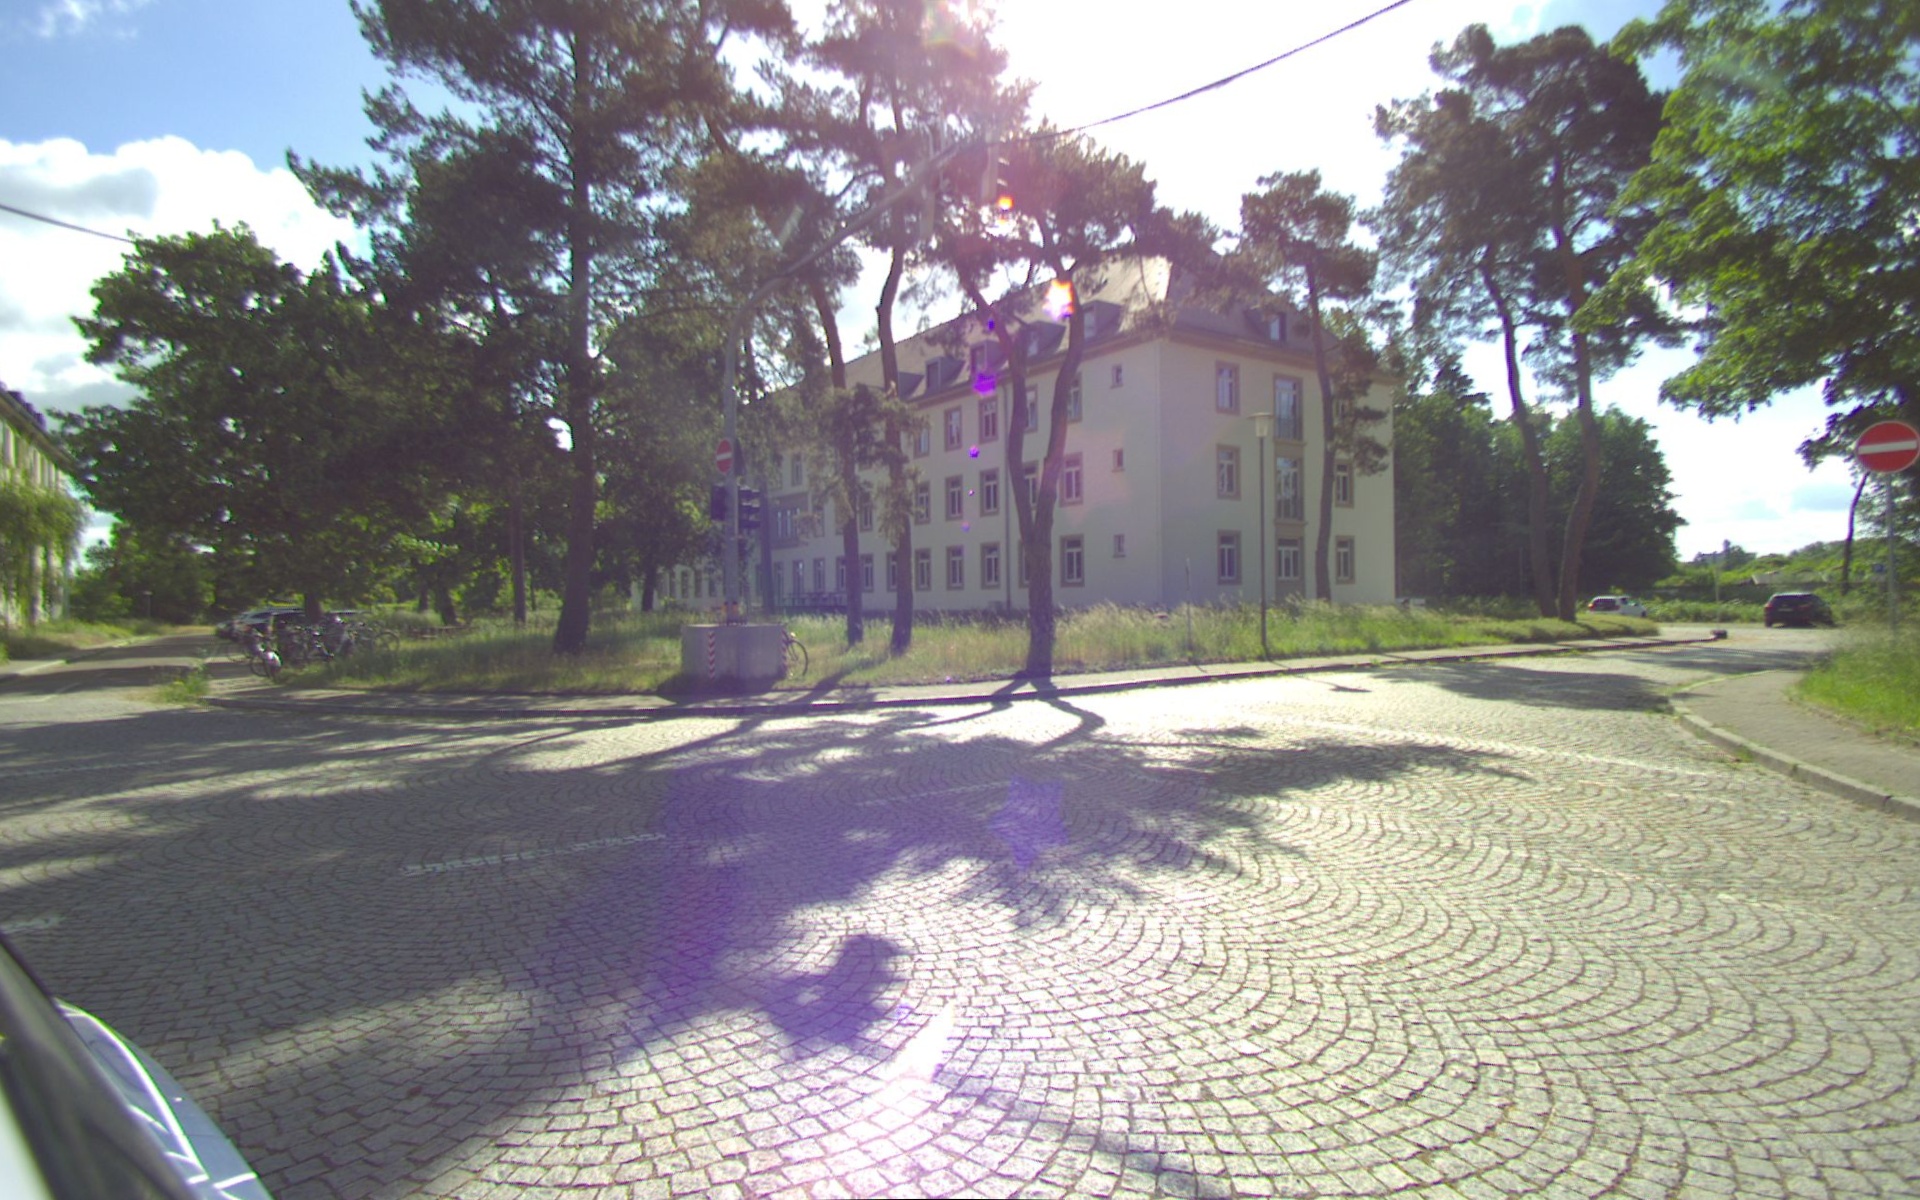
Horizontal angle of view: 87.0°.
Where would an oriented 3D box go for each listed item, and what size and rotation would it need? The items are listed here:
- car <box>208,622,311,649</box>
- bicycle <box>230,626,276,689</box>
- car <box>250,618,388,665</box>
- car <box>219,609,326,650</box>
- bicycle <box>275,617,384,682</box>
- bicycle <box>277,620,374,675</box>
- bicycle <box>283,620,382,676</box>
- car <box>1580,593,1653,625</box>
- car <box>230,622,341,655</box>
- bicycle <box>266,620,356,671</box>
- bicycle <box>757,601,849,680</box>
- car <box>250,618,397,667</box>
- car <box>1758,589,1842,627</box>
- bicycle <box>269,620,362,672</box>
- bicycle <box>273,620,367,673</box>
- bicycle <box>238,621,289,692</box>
[{"bbox_3d":[-36.556,1.820,52.902,1.819,1.311,4.165,-1,-1,44],"label":"car"},{"bbox_3d":[-15.865,1.265,22.683,0.612,1.293,2.118,-3,1,-40],"label":"bicycle"},{"bbox_3d":[-23.421,1.471,37.043,3.984,1.534,1.820,0,-1,-44],"label":"car"},{"bbox_3d":[-34.343,1.457,50.613,1.819,1.928,4.165,-1,-1,44],"label":"car"},{"bbox_3d":[-15.277,1.173,24.558,2.082,1.293,0.622,-8,4,-39],"label":"bicycle"},{"bbox_3d":[-16.992,1.251,27.126,2.082,1.293,0.622,-3,1,-42],"label":"bicycle"},{"bbox_3d":[-16.414,1.230,26.520,2.083,1.293,0.622,-3,1,-43],"label":"bicycle"},{"bbox_3d":[33.621,0.433,51.801,4.040,1.592,1.724,0,-1,-34],"label":"car"},{"bbox_3d":[-30.763,1.716,46.230,3.983,1.374,1.820,0,-1,-43],"label":"car"},{"bbox_3d":[-18.657,1.288,29.126,2.082,1.293,0.622,-3,1,-41],"label":"bicycle"},{"bbox_3d":[-2.834,0.708,18.039,0.611,1.293,2.119,-4,2,-37],"label":"bicycle"},{"bbox_3d":[-21.680,1.407,34.560,3.984,1.513,1.820,0,-1,-44],"label":"car"},{"bbox_3d":[37.620,0.352,45.298,3.992,1.642,1.845,0,-1,-34],"label":"car"},{"bbox_3d":[-18.113,1.271,28.477,2.082,1.293,0.622,-3,1,-41],"label":"bicycle"},{"bbox_3d":[-17.544,1.259,27.772,2.082,1.293,0.622,-3,1,-41],"label":"bicycle"},{"bbox_3d":[-14.468,1.134,21.005,0.612,1.360,2.118,-3,1,-40],"label":"bicycle"}]
